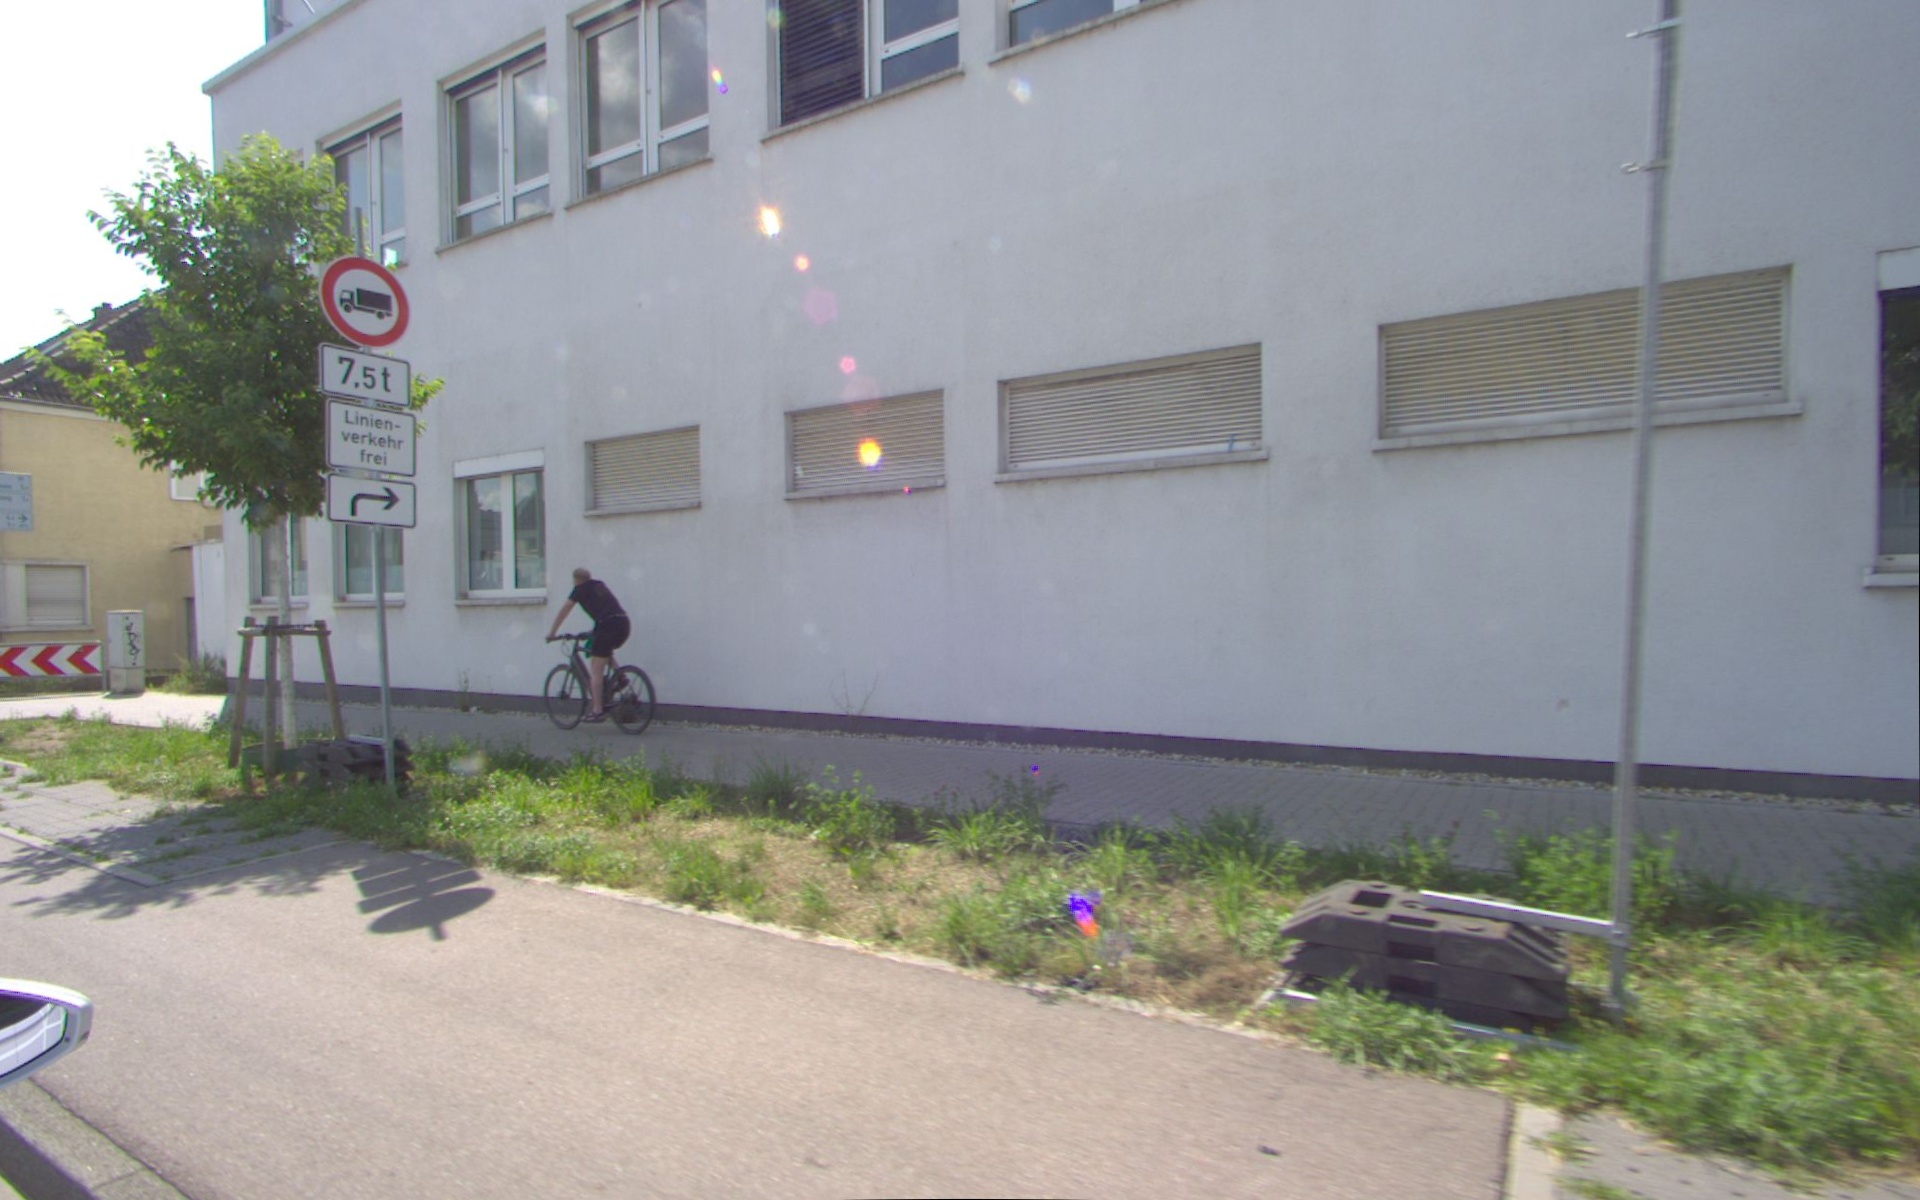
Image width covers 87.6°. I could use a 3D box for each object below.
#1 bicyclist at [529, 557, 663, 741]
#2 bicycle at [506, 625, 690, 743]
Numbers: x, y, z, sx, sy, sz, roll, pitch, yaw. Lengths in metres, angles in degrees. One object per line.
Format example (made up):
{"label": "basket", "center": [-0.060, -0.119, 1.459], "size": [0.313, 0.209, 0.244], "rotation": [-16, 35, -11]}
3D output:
{"label": "bicyclist", "center": [-3.828, 0.478, 10.546], "size": [1.069, 1.818, 0.826], "rotation": [0, 2, 34]}
{"label": "bicycle", "center": [-3.837, 0.836, 10.565], "size": [1.944, 1.090, 0.826], "rotation": [0, 2, 34]}
